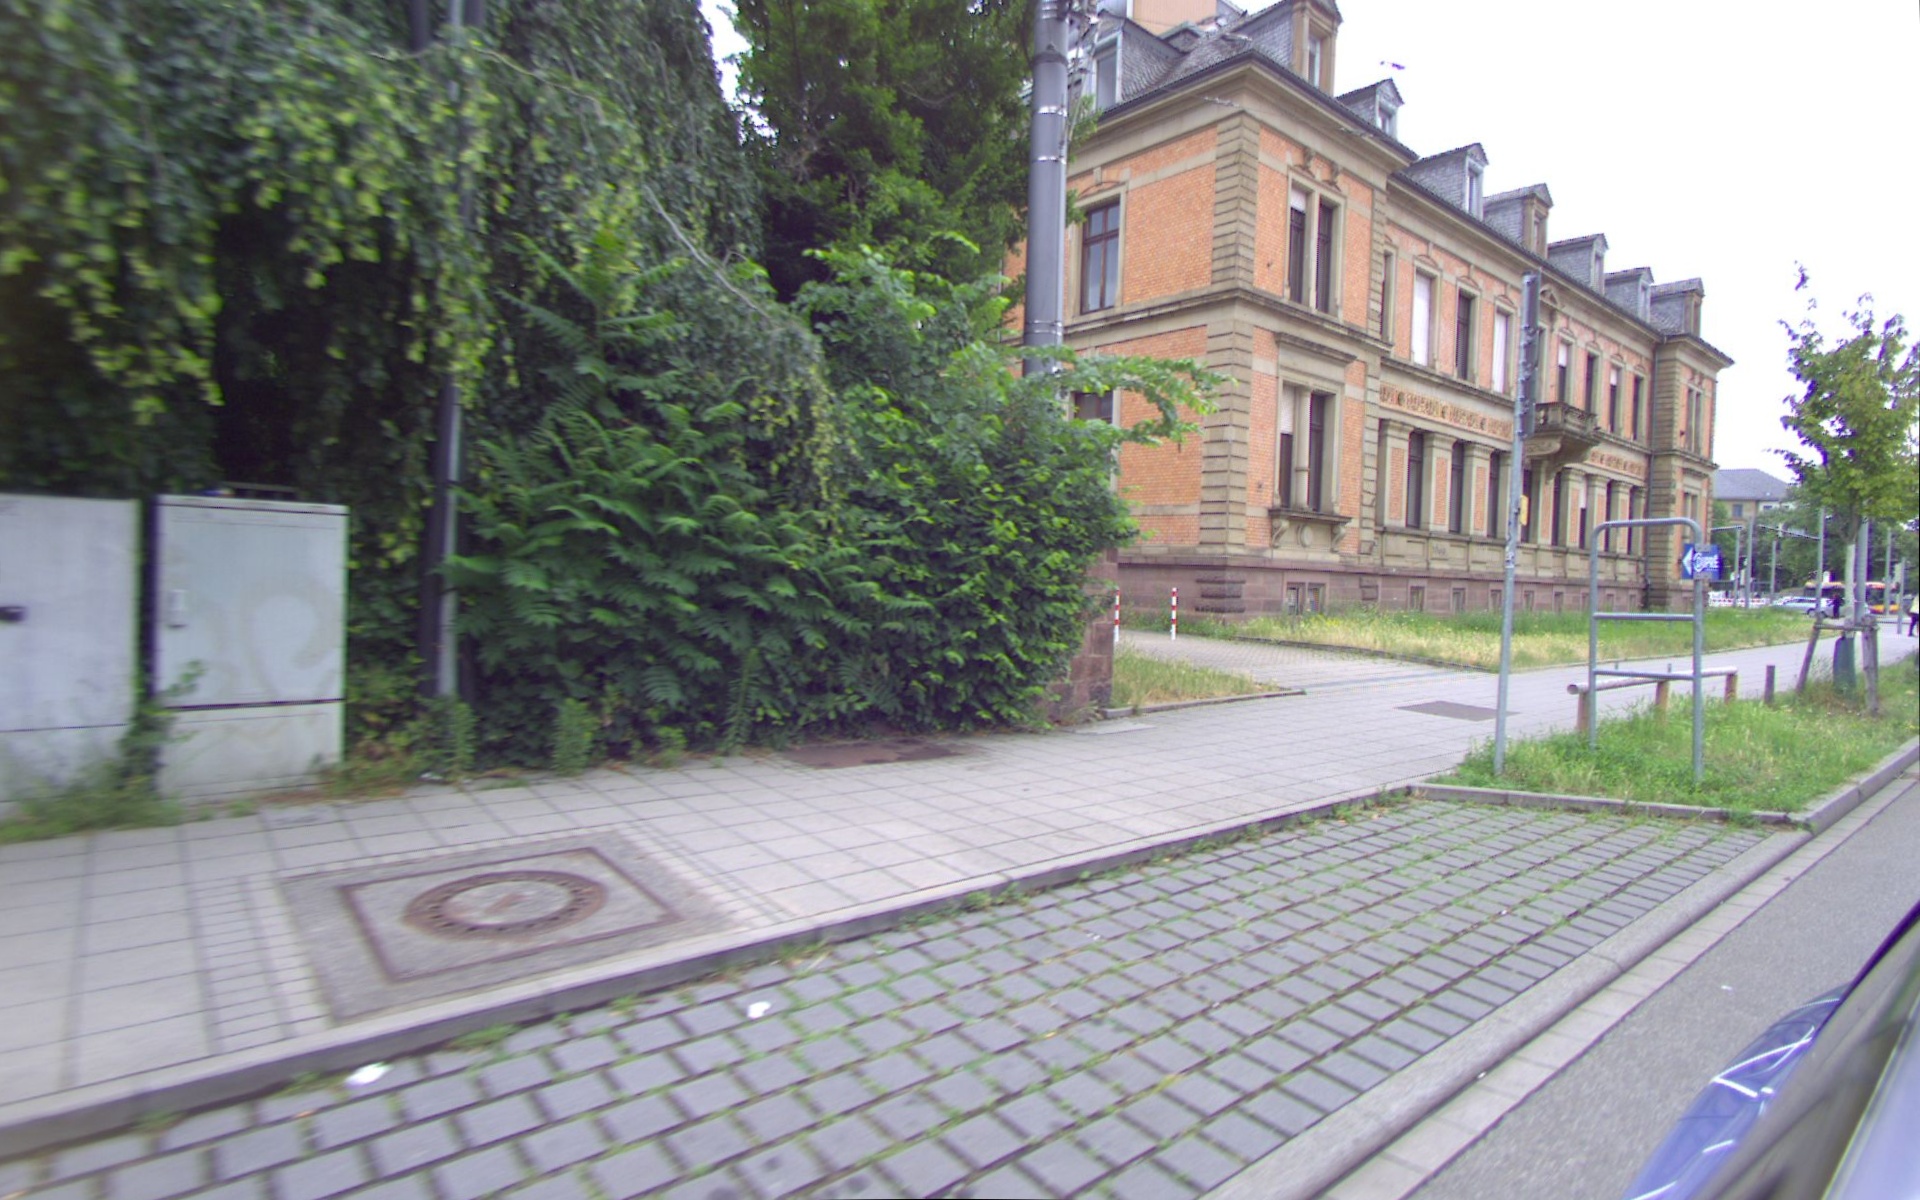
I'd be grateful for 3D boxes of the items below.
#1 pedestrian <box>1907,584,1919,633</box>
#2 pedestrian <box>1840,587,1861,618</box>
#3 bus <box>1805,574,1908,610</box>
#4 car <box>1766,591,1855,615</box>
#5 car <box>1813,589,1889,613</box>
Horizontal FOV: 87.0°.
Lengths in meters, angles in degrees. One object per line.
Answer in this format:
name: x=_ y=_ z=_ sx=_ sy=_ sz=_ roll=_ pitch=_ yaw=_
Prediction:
pedestrian: x=37.407 y=0.354 z=38.797 sx=0.869 sy=1.890 sz=1.288 roll=2 pitch=1 yaw=-7
pedestrian: x=58.593 y=0.175 z=66.598 sx=0.774 sy=1.967 sz=0.972 roll=2 pitch=1 yaw=27
bus: x=86.479 y=-0.838 z=97.989 sx=2.827 sy=3.115 sz=11.954 roll=1 pitch=2 yaw=18
car: x=63.679 y=0.207 z=75.904 sx=1.958 sy=1.512 sz=4.688 roll=3 pitch=0 yaw=-23
car: x=62.403 y=0.058 z=70.929 sx=1.962 sy=1.511 sz=3.623 roll=0 pitch=2 yaw=-35
